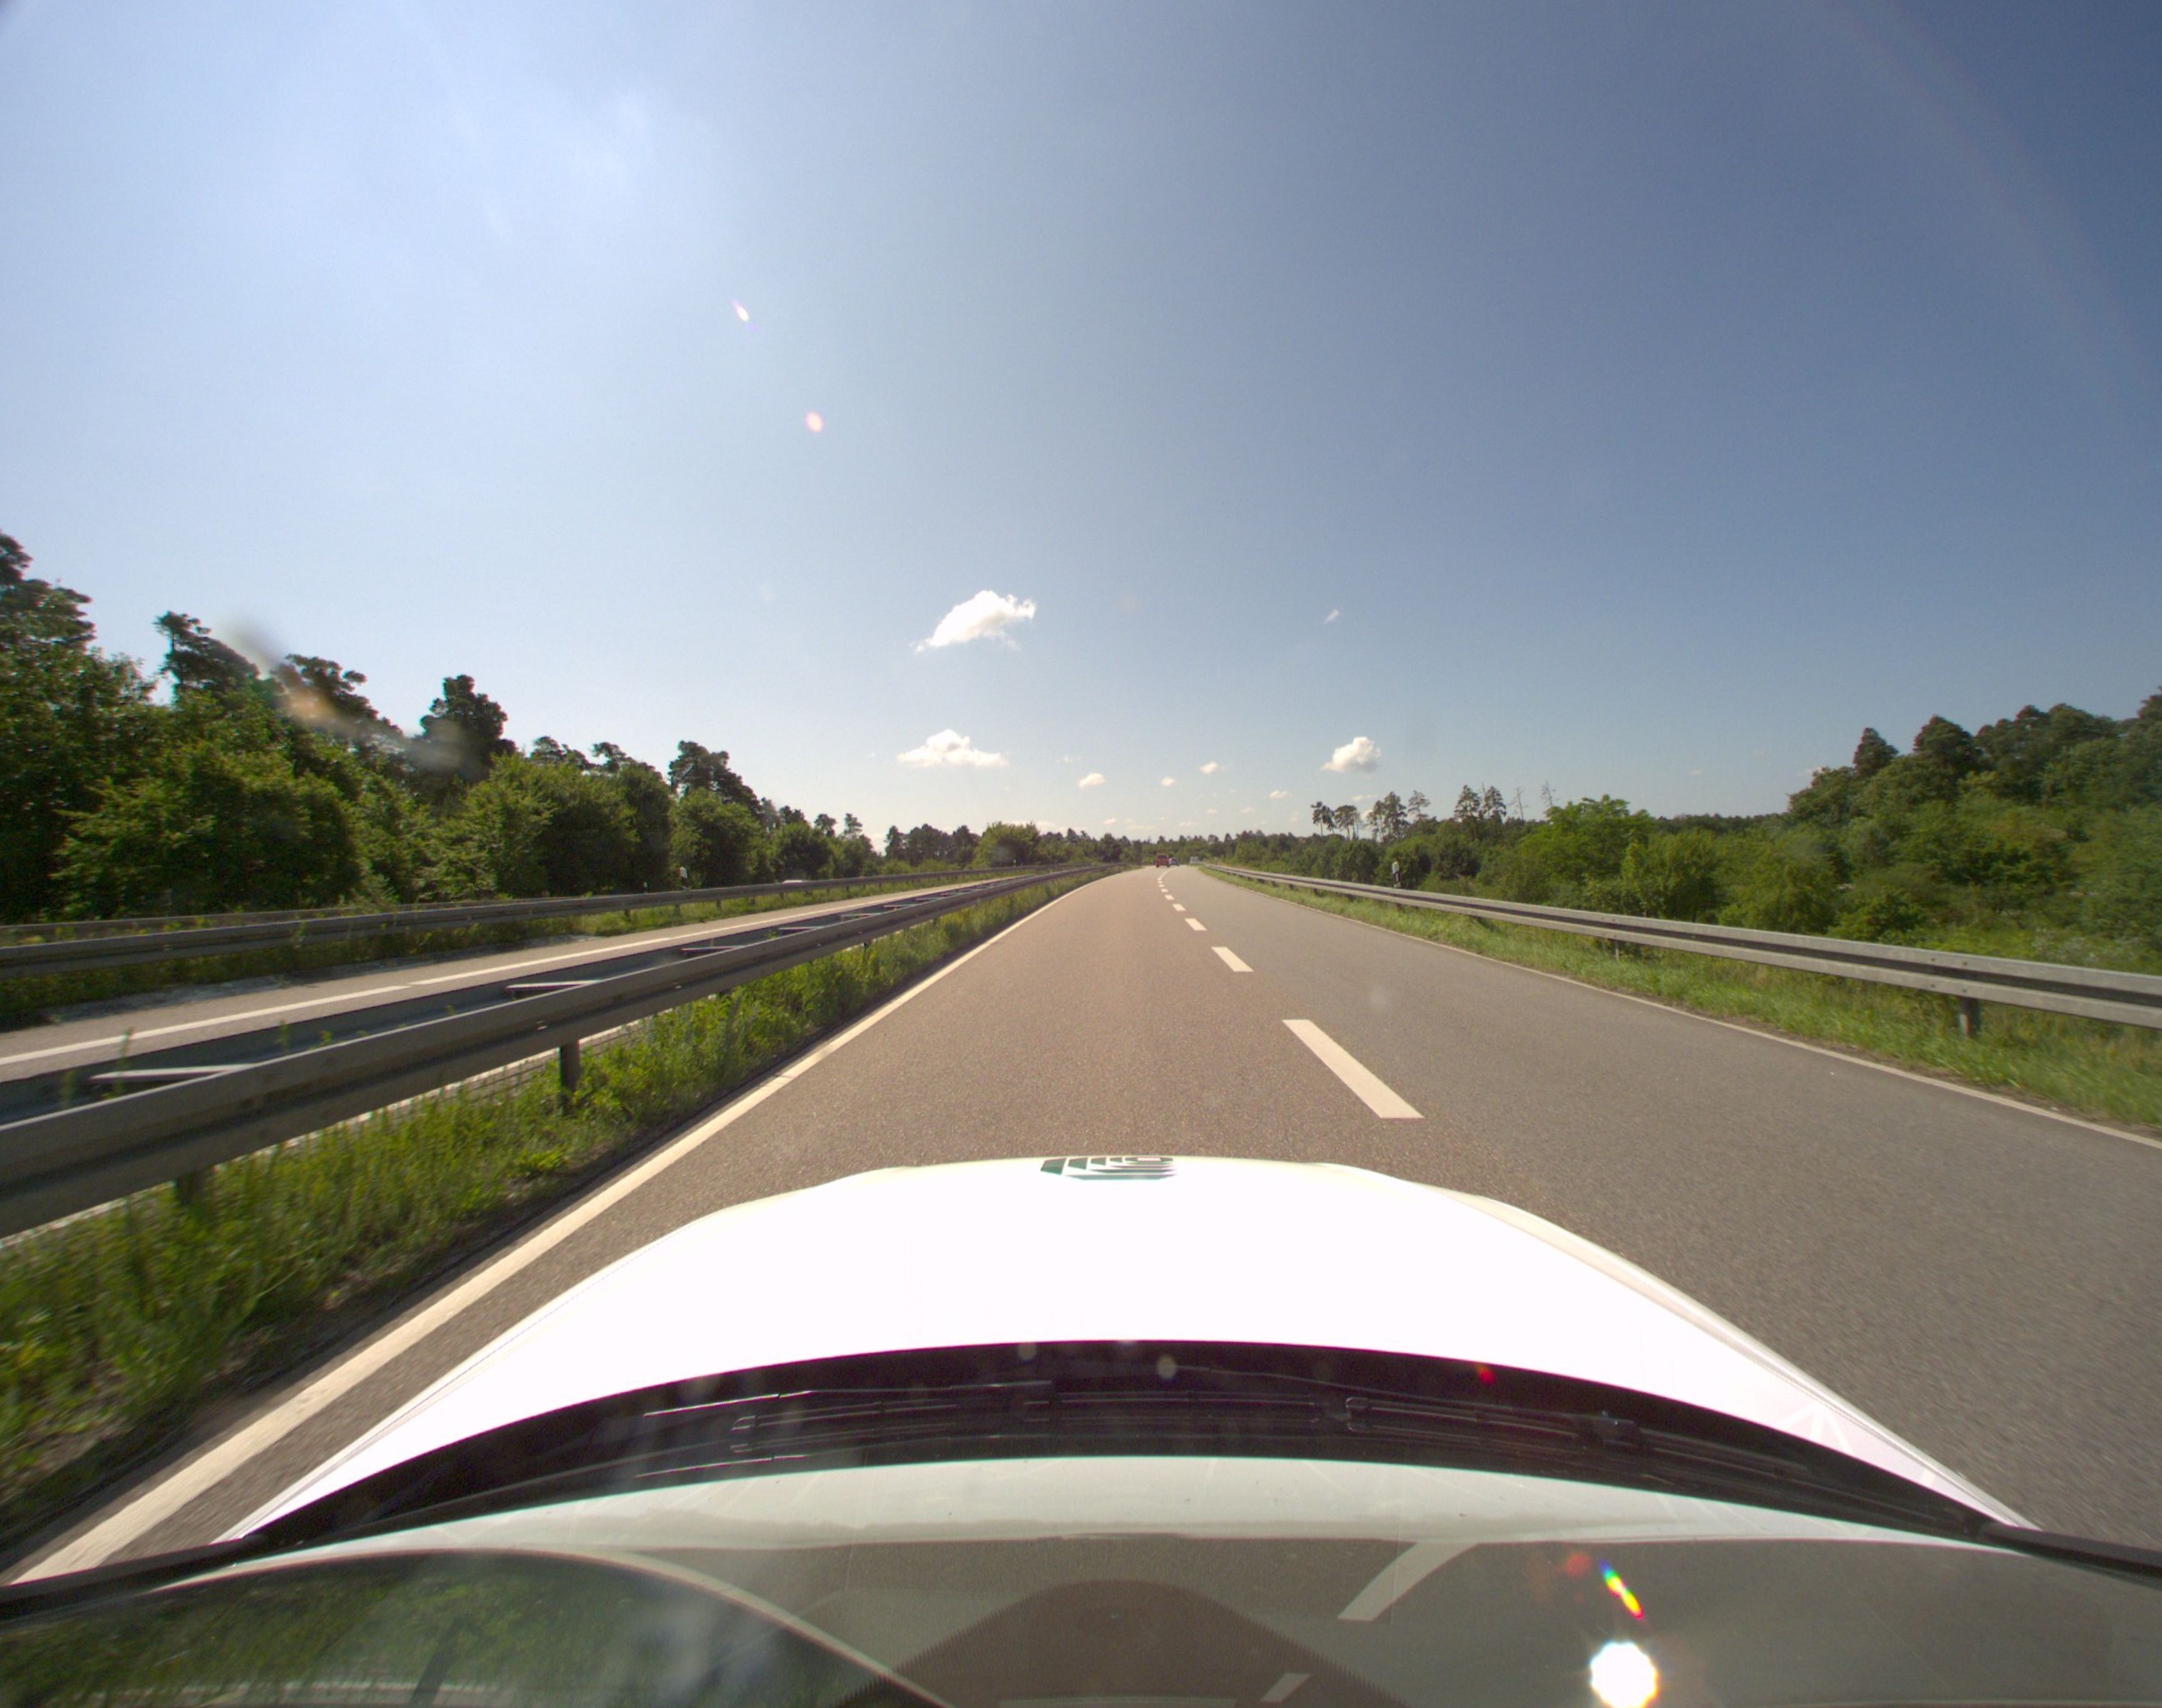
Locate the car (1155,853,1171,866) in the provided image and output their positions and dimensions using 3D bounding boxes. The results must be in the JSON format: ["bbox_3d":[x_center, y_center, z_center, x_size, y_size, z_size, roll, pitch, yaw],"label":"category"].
[{"bbox_3d":[12.496,0.877,123.687,2.065,1.993,5.123,0,-1,8],"label":"car"}]

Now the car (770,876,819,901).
[{"bbox_3d":[-19.439,2.318,55.510,1.944,1.414,4.825,-2,0,-5],"label":"car"}]

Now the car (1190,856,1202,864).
[{"bbox_3d":[27.861,1.473,197.684,2.169,1.955,5.826,0,-1,14],"label":"car"}]

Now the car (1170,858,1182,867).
[{"bbox_3d":[16.987,1.517,145.221,1.996,1.494,4.248,0,-1,8],"label":"car"}]
